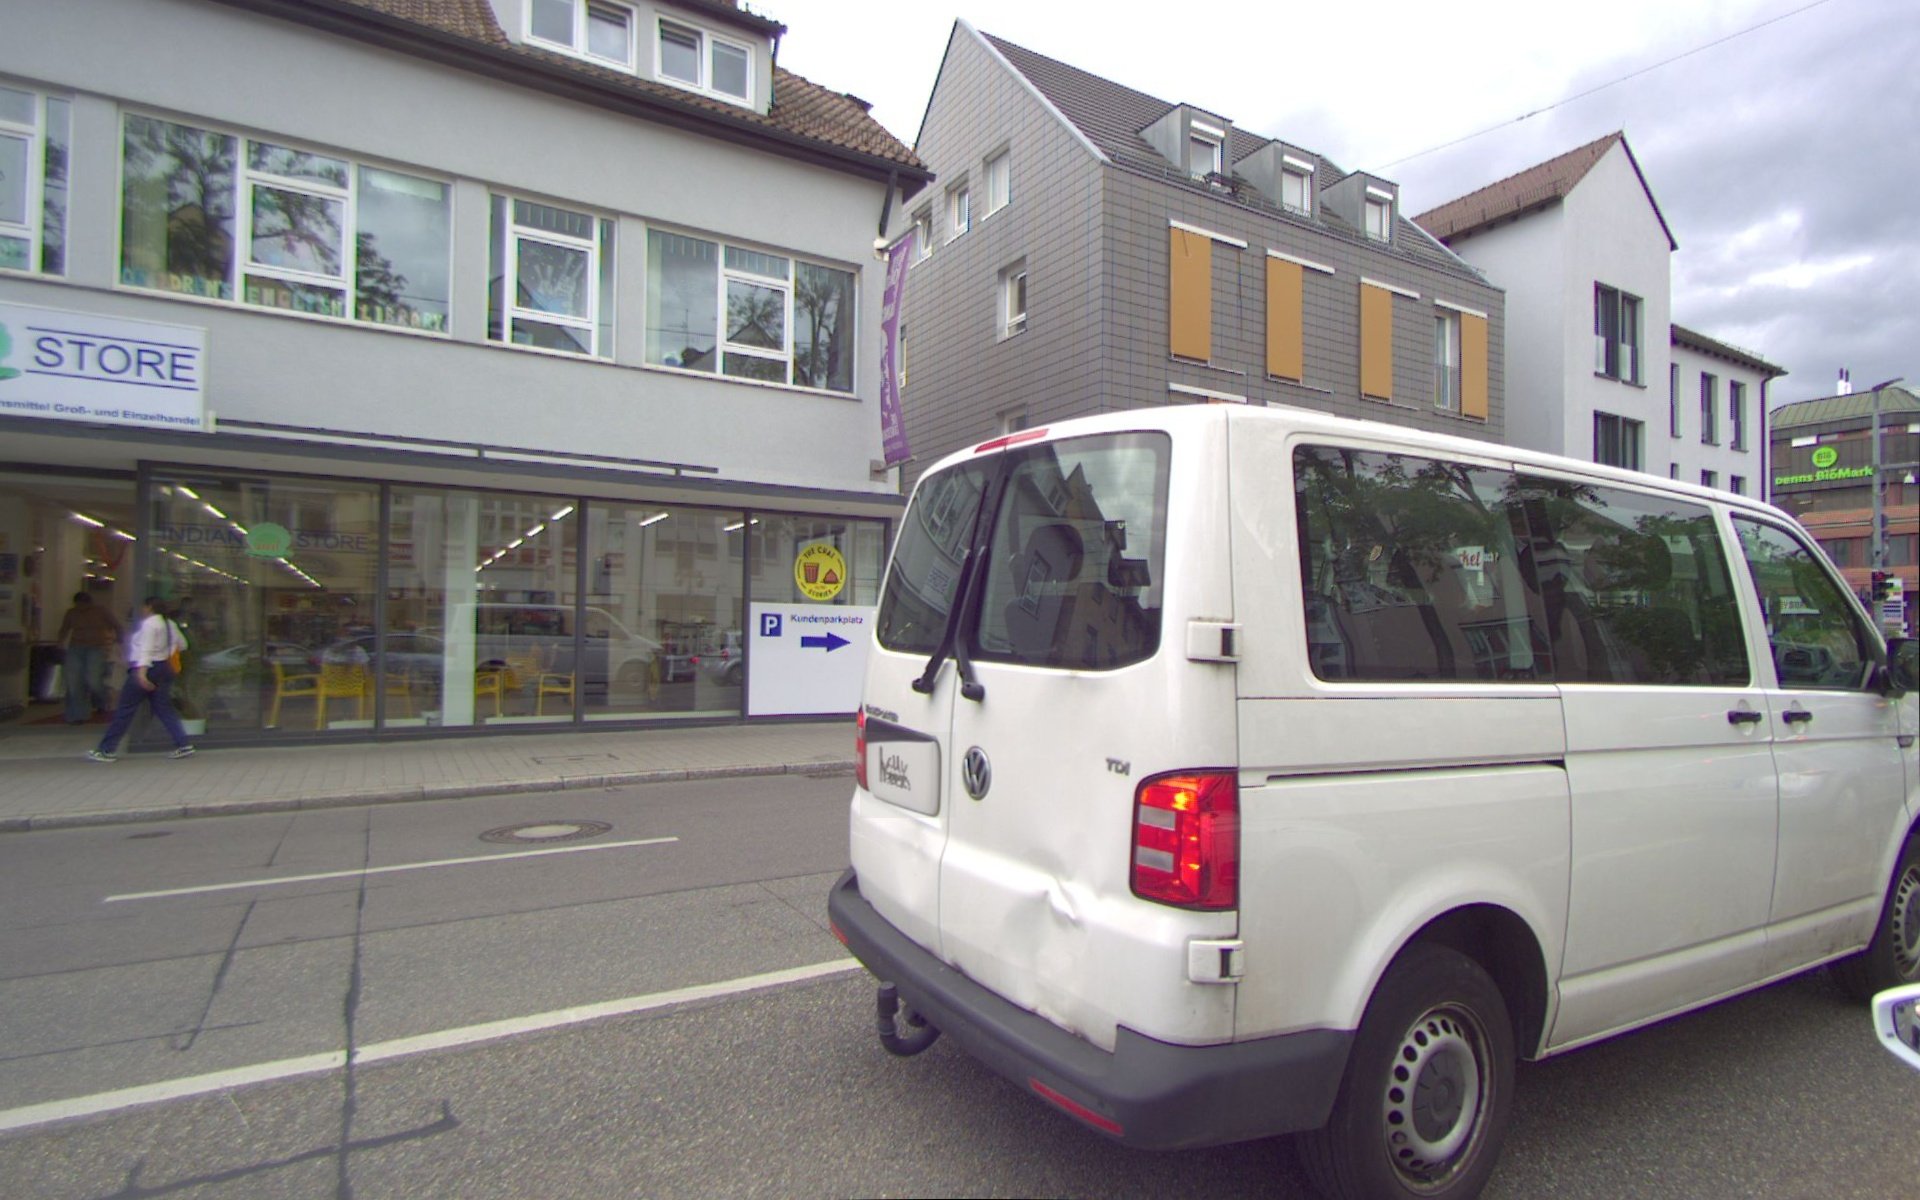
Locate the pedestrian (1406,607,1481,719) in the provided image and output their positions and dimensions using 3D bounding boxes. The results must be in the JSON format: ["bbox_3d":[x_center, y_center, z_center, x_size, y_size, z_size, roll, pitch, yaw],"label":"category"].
[{"bbox_3d":[8.284,1.061,17.224,1.015,1.863,0.704,1,-1,-29],"label":"pedestrian"}]

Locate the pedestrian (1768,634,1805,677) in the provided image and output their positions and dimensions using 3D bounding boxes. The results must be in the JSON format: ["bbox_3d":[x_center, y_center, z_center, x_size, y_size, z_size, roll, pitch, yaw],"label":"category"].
[{"bbox_3d":[34.987,2.346,42.532,0.933,1.778,0.944,1,-1,-28],"label":"pedestrian"}]

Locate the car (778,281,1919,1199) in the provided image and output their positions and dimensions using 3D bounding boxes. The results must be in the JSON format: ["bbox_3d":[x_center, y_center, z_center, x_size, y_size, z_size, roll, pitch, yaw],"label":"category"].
[{"bbox_3d":[1.930,0.493,3.857,4.783,2.040,1.984,1,0,-30],"label":"car"}]

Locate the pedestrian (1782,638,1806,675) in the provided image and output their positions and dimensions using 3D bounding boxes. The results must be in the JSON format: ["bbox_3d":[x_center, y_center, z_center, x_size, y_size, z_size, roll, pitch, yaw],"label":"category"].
[{"bbox_3d":[36.686,2.487,44.189,0.519,1.609,0.636,1,-1,-28],"label":"pedestrian"}]

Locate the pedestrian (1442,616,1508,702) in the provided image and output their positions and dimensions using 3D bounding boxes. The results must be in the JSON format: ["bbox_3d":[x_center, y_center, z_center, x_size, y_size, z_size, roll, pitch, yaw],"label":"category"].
[{"bbox_3d":[10.265,1.151,20.049,0.952,1.665,0.891,0,-1,9],"label":"pedestrian"}]

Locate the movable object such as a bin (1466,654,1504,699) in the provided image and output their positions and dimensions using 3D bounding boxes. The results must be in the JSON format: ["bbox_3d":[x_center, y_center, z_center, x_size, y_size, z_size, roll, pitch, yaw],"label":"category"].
[{"bbox_3d":[11.179,1.614,21.378,0.501,0.911,0.548,1,-1,-32],"label":"movable object such as a bin"}]

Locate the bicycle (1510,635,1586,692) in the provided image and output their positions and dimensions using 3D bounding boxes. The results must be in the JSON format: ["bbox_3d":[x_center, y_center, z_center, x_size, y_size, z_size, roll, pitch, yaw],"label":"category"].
[{"bbox_3d":[13.346,1.417,22.785,2.095,1.248,0.579,1,-1,-32],"label":"bicycle"}]

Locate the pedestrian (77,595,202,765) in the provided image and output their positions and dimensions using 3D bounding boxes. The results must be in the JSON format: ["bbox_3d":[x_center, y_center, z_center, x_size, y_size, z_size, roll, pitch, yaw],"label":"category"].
[{"bbox_3d":[-8.108,0.766,9.968,0.714,1.601,0.844,1,-1,-22],"label":"pedestrian"}]
